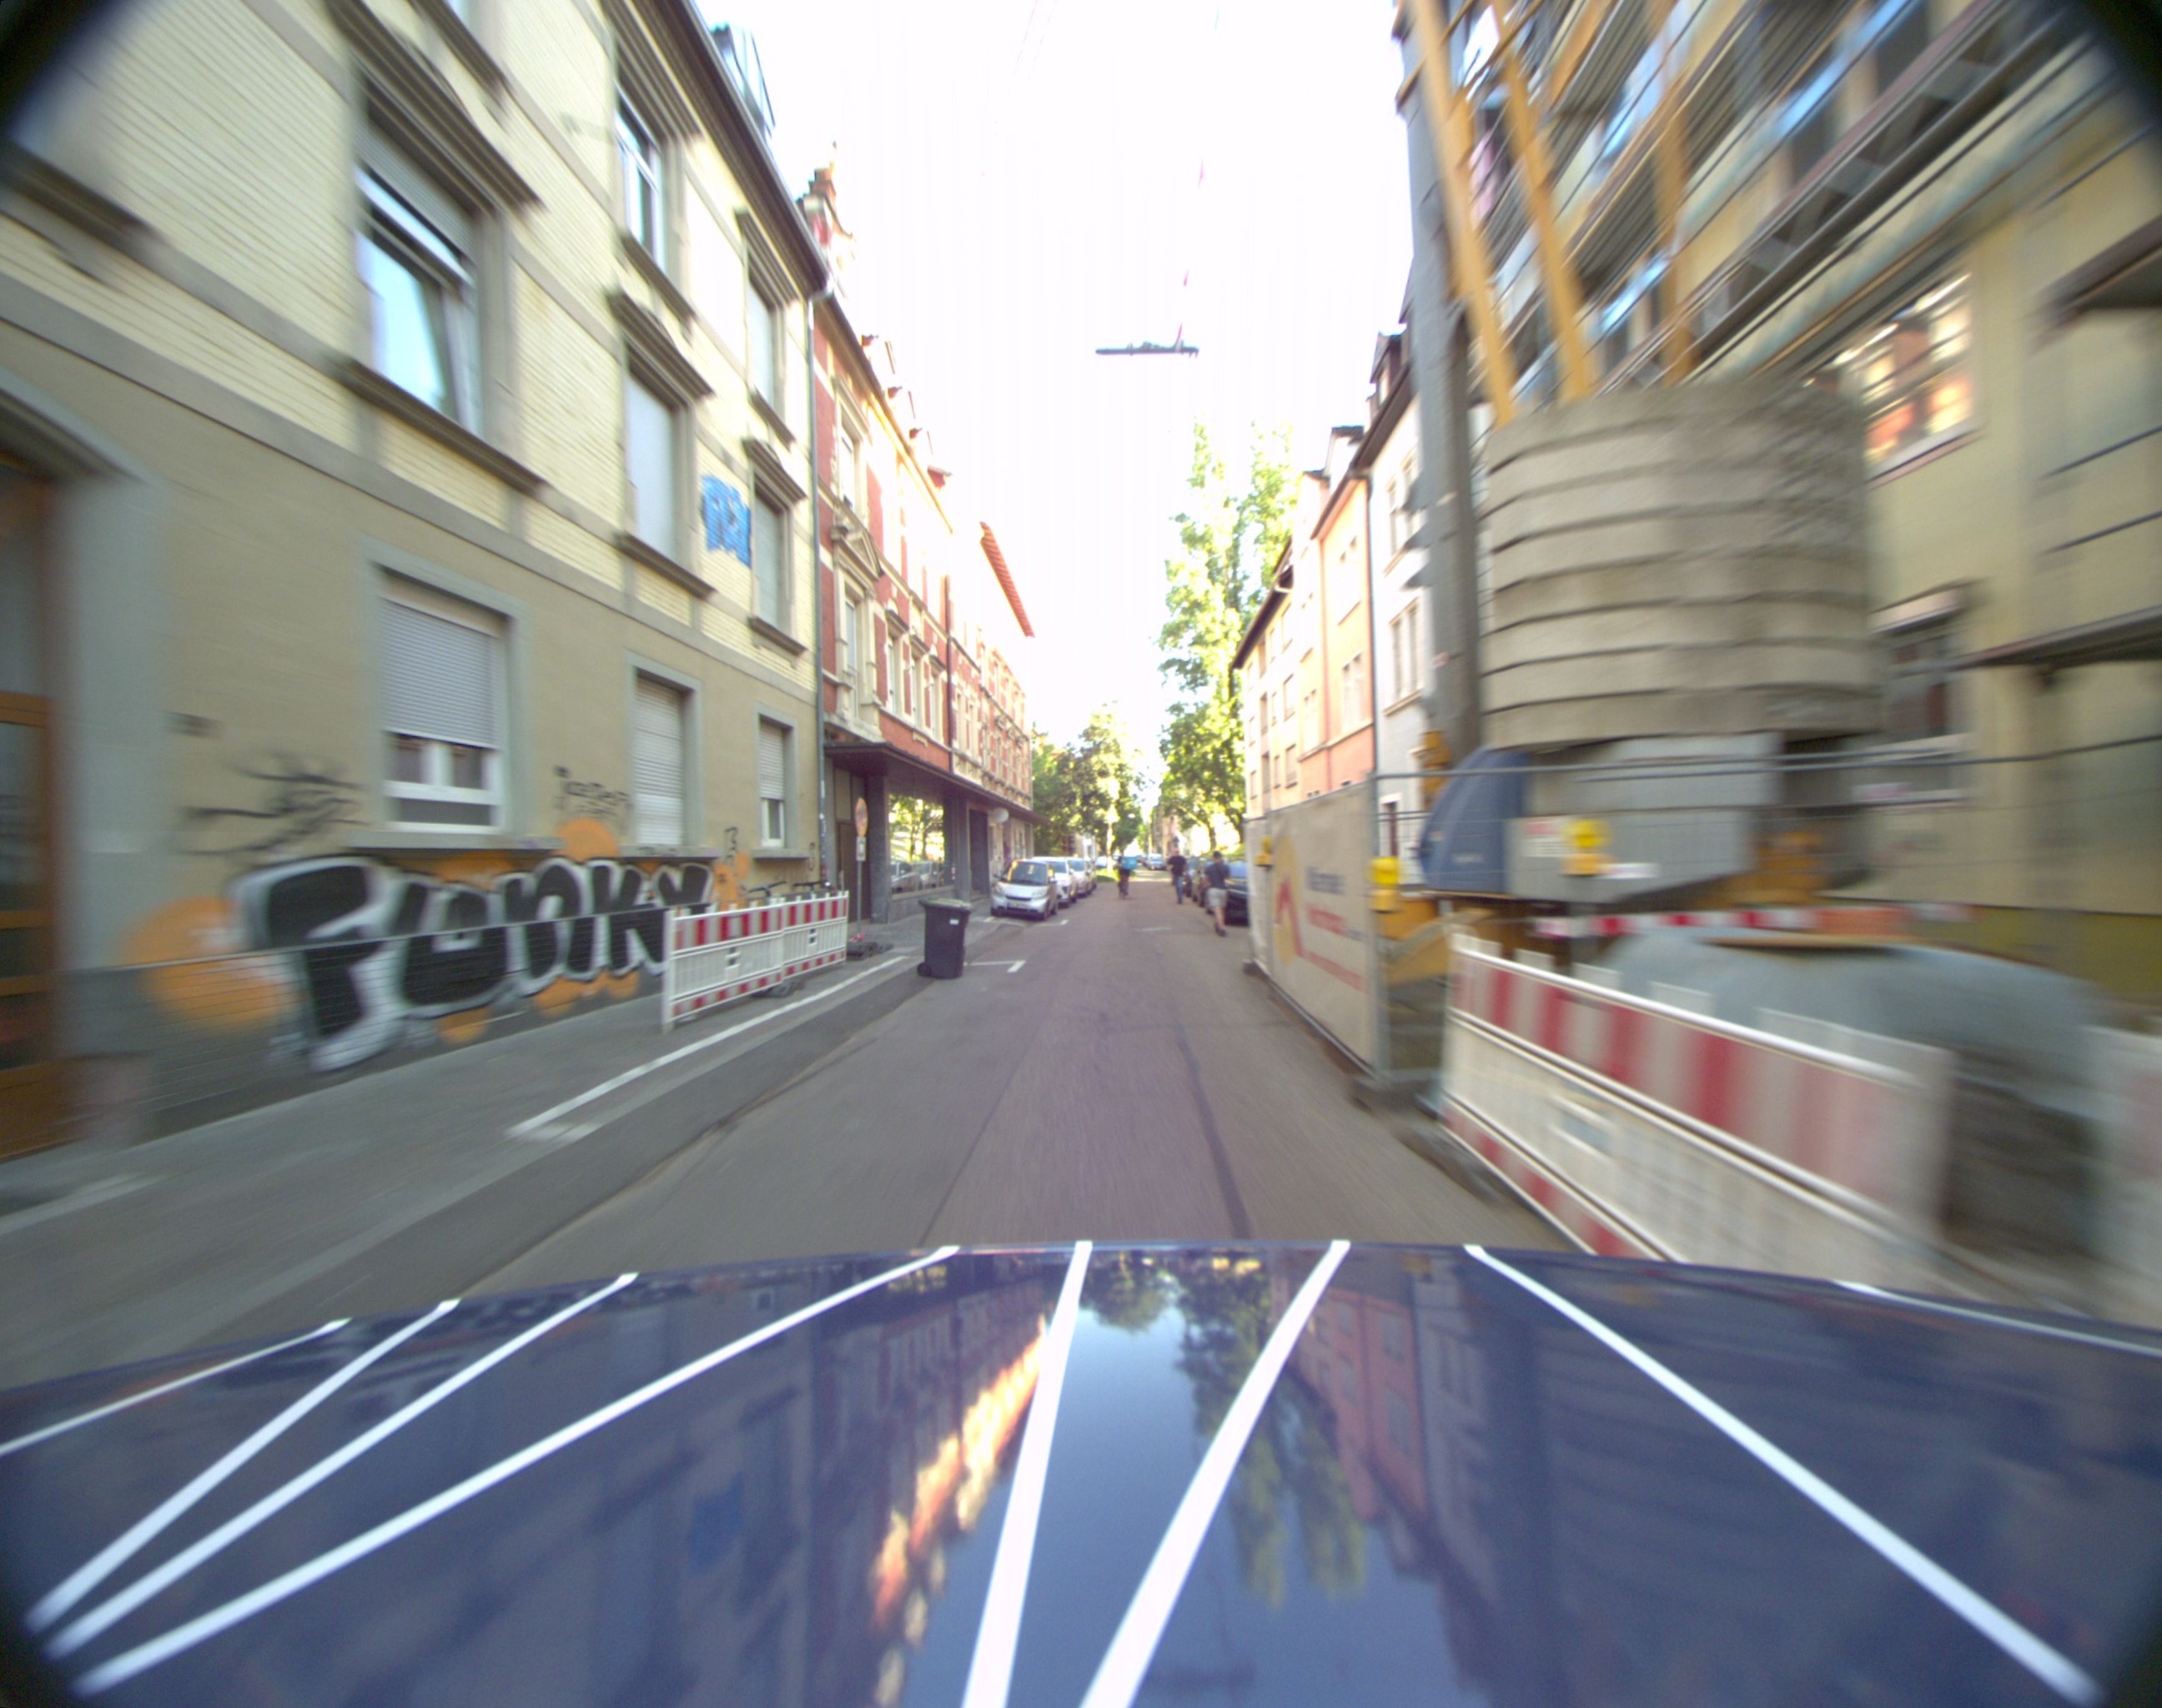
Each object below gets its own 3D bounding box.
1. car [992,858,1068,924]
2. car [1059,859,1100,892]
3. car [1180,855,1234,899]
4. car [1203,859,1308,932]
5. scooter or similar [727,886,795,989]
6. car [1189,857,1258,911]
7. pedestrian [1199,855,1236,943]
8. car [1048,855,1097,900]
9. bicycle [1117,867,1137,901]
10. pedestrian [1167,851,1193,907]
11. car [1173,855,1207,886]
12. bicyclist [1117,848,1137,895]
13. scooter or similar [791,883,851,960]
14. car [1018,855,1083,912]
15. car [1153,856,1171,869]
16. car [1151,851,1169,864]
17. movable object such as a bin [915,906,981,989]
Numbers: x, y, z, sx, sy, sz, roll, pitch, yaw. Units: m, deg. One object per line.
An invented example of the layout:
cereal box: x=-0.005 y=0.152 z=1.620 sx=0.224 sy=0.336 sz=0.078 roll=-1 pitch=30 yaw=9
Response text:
car: x=-1.336 y=0.947 z=21.023 sx=1.525 sy=1.525 sz=3.464 roll=5 pitch=1 yaw=4
car: x=-0.023 y=1.004 z=37.276 sx=1.646 sy=1.442 sz=4.167 roll=-3 pitch=0 yaw=4
car: x=4.705 y=0.813 z=28.868 sx=1.646 sy=1.565 sz=4.250 roll=0 pitch=0 yaw=4
car: x=4.044 y=0.894 z=18.337 sx=1.770 sy=1.500 sz=4.697 roll=0 pitch=0 yaw=4
scooter or similar: x=-4.306 y=1.087 z=10.292 sx=0.456 sy=1.203 sz=1.443 roll=2 pitch=1 yaw=-8
car: x=4.402 y=0.876 z=23.930 sx=1.646 sy=1.483 sz=4.001 roll=-2 pitch=0 yaw=4
pedestrian: x=2.612 y=0.833 z=14.612 sx=0.594 sy=1.634 sz=0.813 roll=1 pitch=1 yaw=4
car: x=-0.288 y=0.892 z=30.989 sx=1.603 sy=1.626 sz=3.775 roll=-3 pitch=0 yaw=4
bicycle: x=1.653 y=1.055 z=27.509 sx=0.688 sy=1.151 sz=1.846 roll=1 pitch=1 yaw=2
pedestrian: x=3.126 y=0.776 z=24.130 sx=0.740 sy=1.743 sz=0.998 roll=-1 pitch=1 yaw=5
car: x=5.495 y=0.807 z=38.735 sx=1.464 sy=1.512 sz=3.661 roll=0 pitch=0 yaw=4
bicyclist: x=1.653 y=0.623 z=27.274 sx=0.666 sy=1.668 sz=0.893 roll=1 pitch=1 yaw=2
scooter or similar: x=-4.306 y=1.085 z=12.661 sx=0.389 sy=1.137 sz=1.444 roll=3 pitch=1 yaw=4
car: x=-0.936 y=0.914 z=25.363 sx=1.603 sy=1.652 sz=4.061 roll=-3 pitch=0 yaw=4
car: x=8.375 y=0.885 z=78.977 sx=1.759 sy=1.293 sz=4.250 roll=0 pitch=0 yaw=4
car: x=9.546 y=0.436 z=92.159 sx=2.167 sy=1.508 sz=5.378 roll=0 pitch=0 yaw=5
movable object such as a bin: x=-1.821 y=1.267 z=10.477 sx=0.742 sy=1.051 sz=0.687 roll=0 pitch=1 yaw=4
